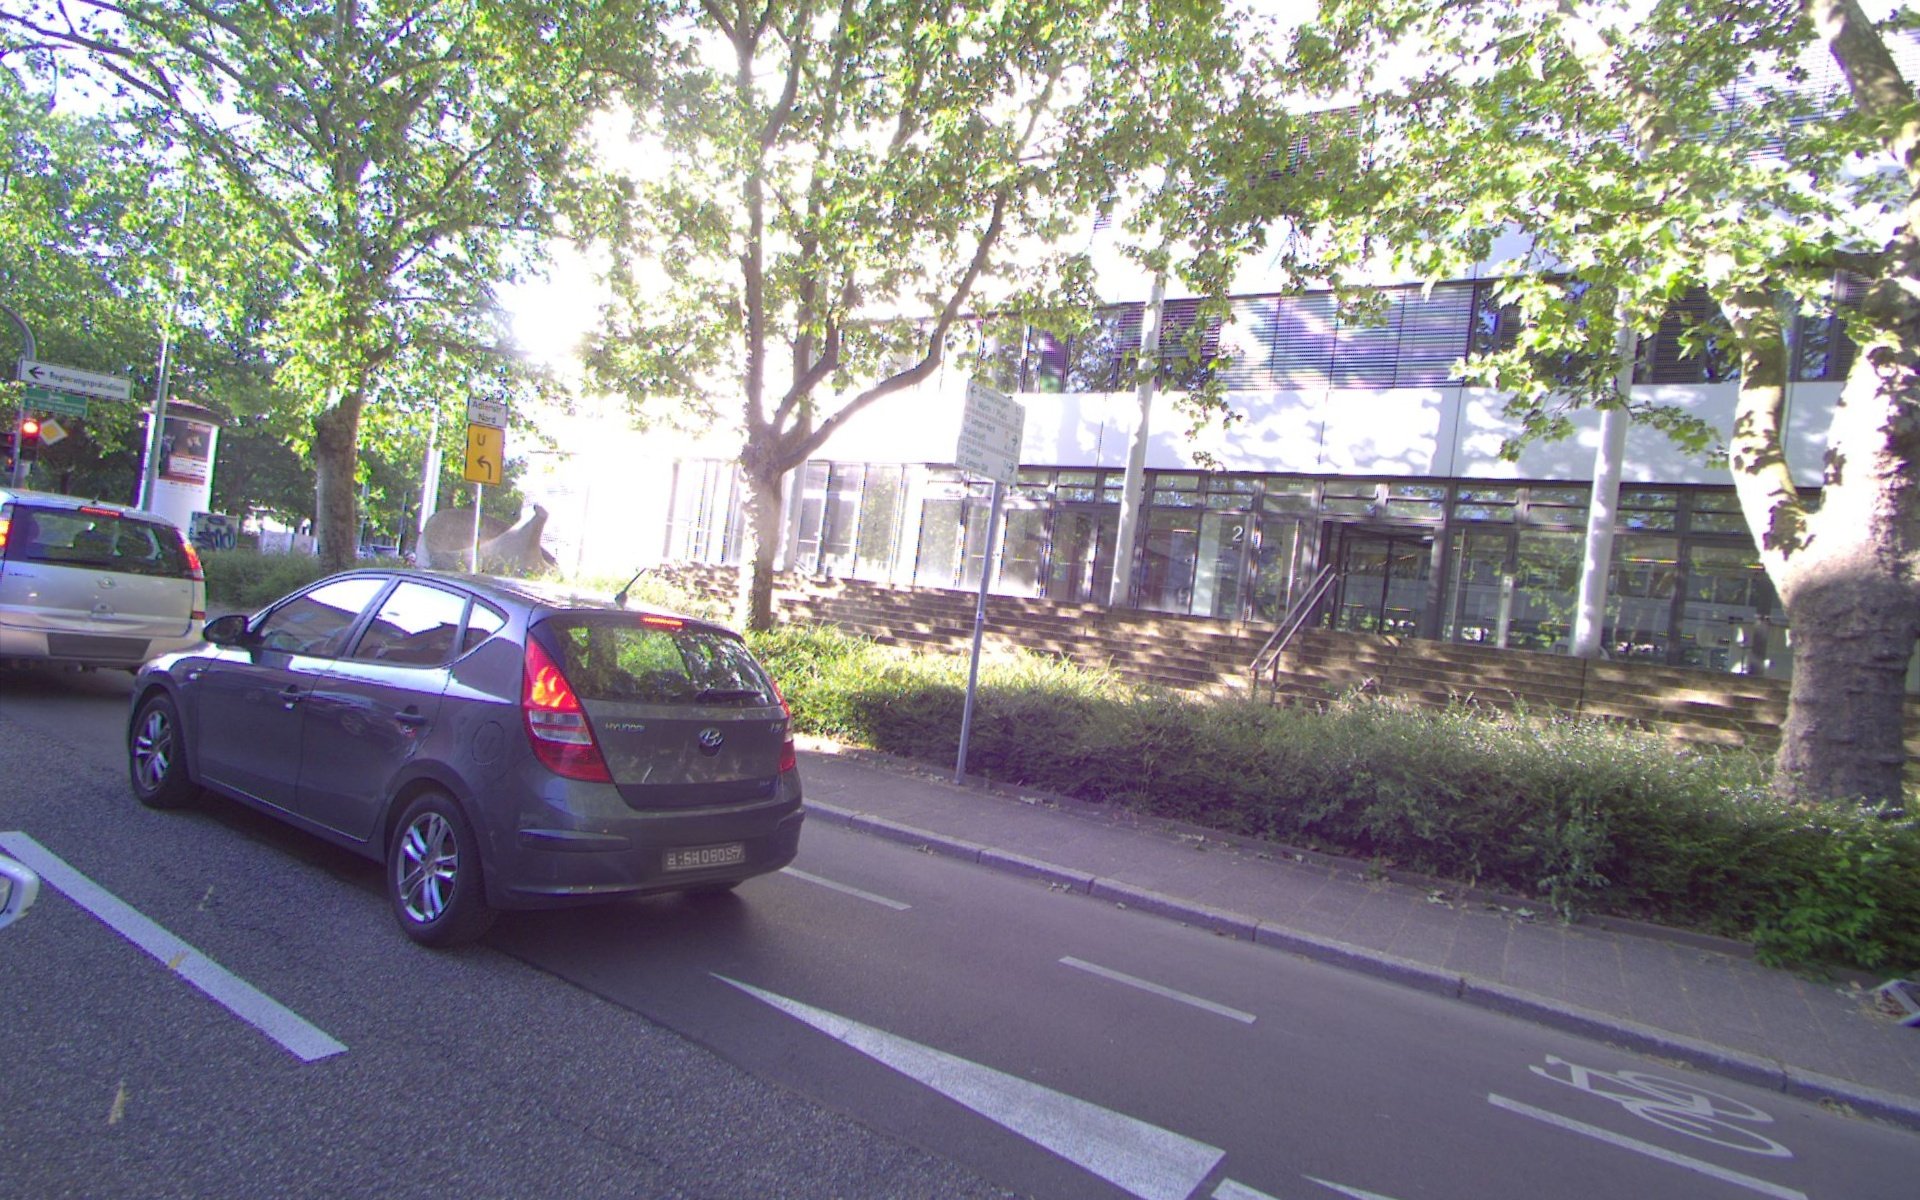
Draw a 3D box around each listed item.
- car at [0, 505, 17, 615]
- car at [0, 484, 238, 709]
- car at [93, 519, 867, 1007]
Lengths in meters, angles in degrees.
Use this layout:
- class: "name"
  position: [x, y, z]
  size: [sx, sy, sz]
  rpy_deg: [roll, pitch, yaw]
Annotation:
- class: "car"
  position: [-13.997, -0.729, 12.621]
  size: [4.592, 1.481, 1.917]
  rpy_deg: [7, -3, 32]
- class: "car"
  position: [-8.404, -0.148, 9.062]
  size: [3.797, 1.620, 1.705]
  rpy_deg: [7, -3, 34]
- class: "car"
  position: [-2.624, 0.581, 5.251]
  size: [3.910, 1.498, 1.648]
  rpy_deg: [7, -3, 32]
